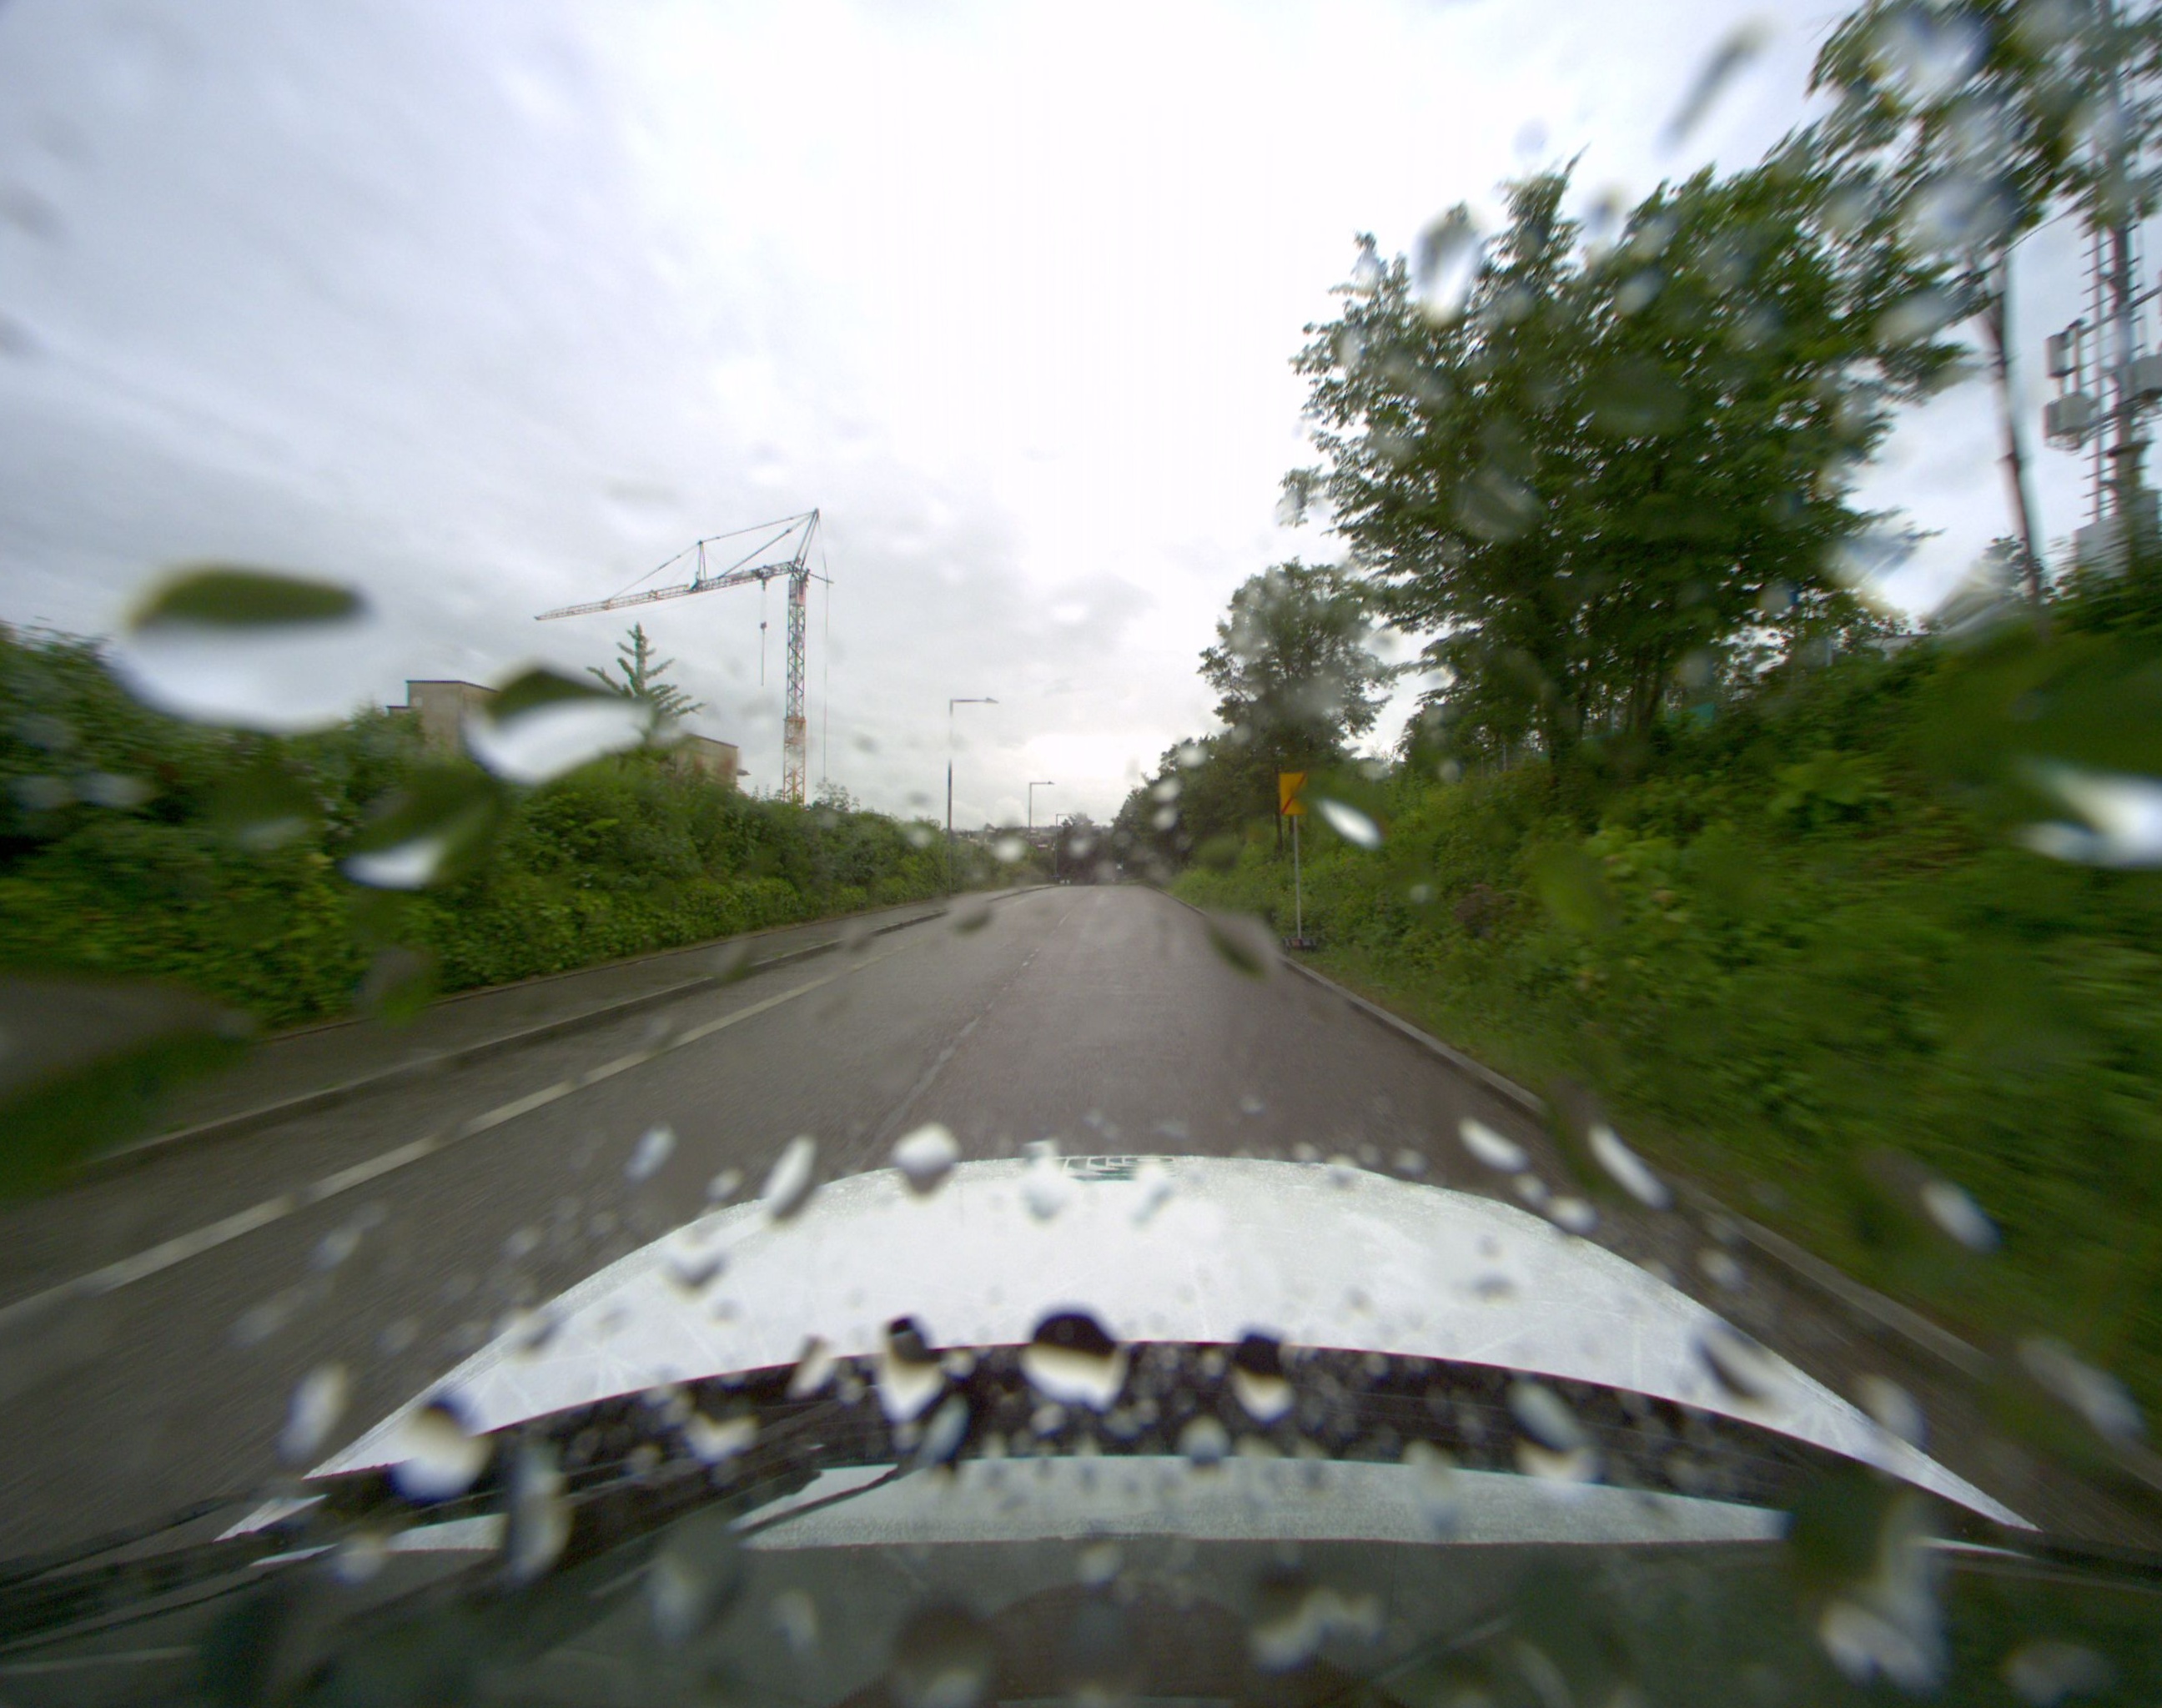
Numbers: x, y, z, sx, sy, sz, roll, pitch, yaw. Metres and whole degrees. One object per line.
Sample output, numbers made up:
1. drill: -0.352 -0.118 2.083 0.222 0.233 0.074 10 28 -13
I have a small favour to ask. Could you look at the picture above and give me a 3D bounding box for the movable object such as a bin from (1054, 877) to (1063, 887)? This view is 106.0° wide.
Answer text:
1. movable object such as a bin: -3.134 3.856 113.811 1.130 1.339 1.395 3 -3 -7
